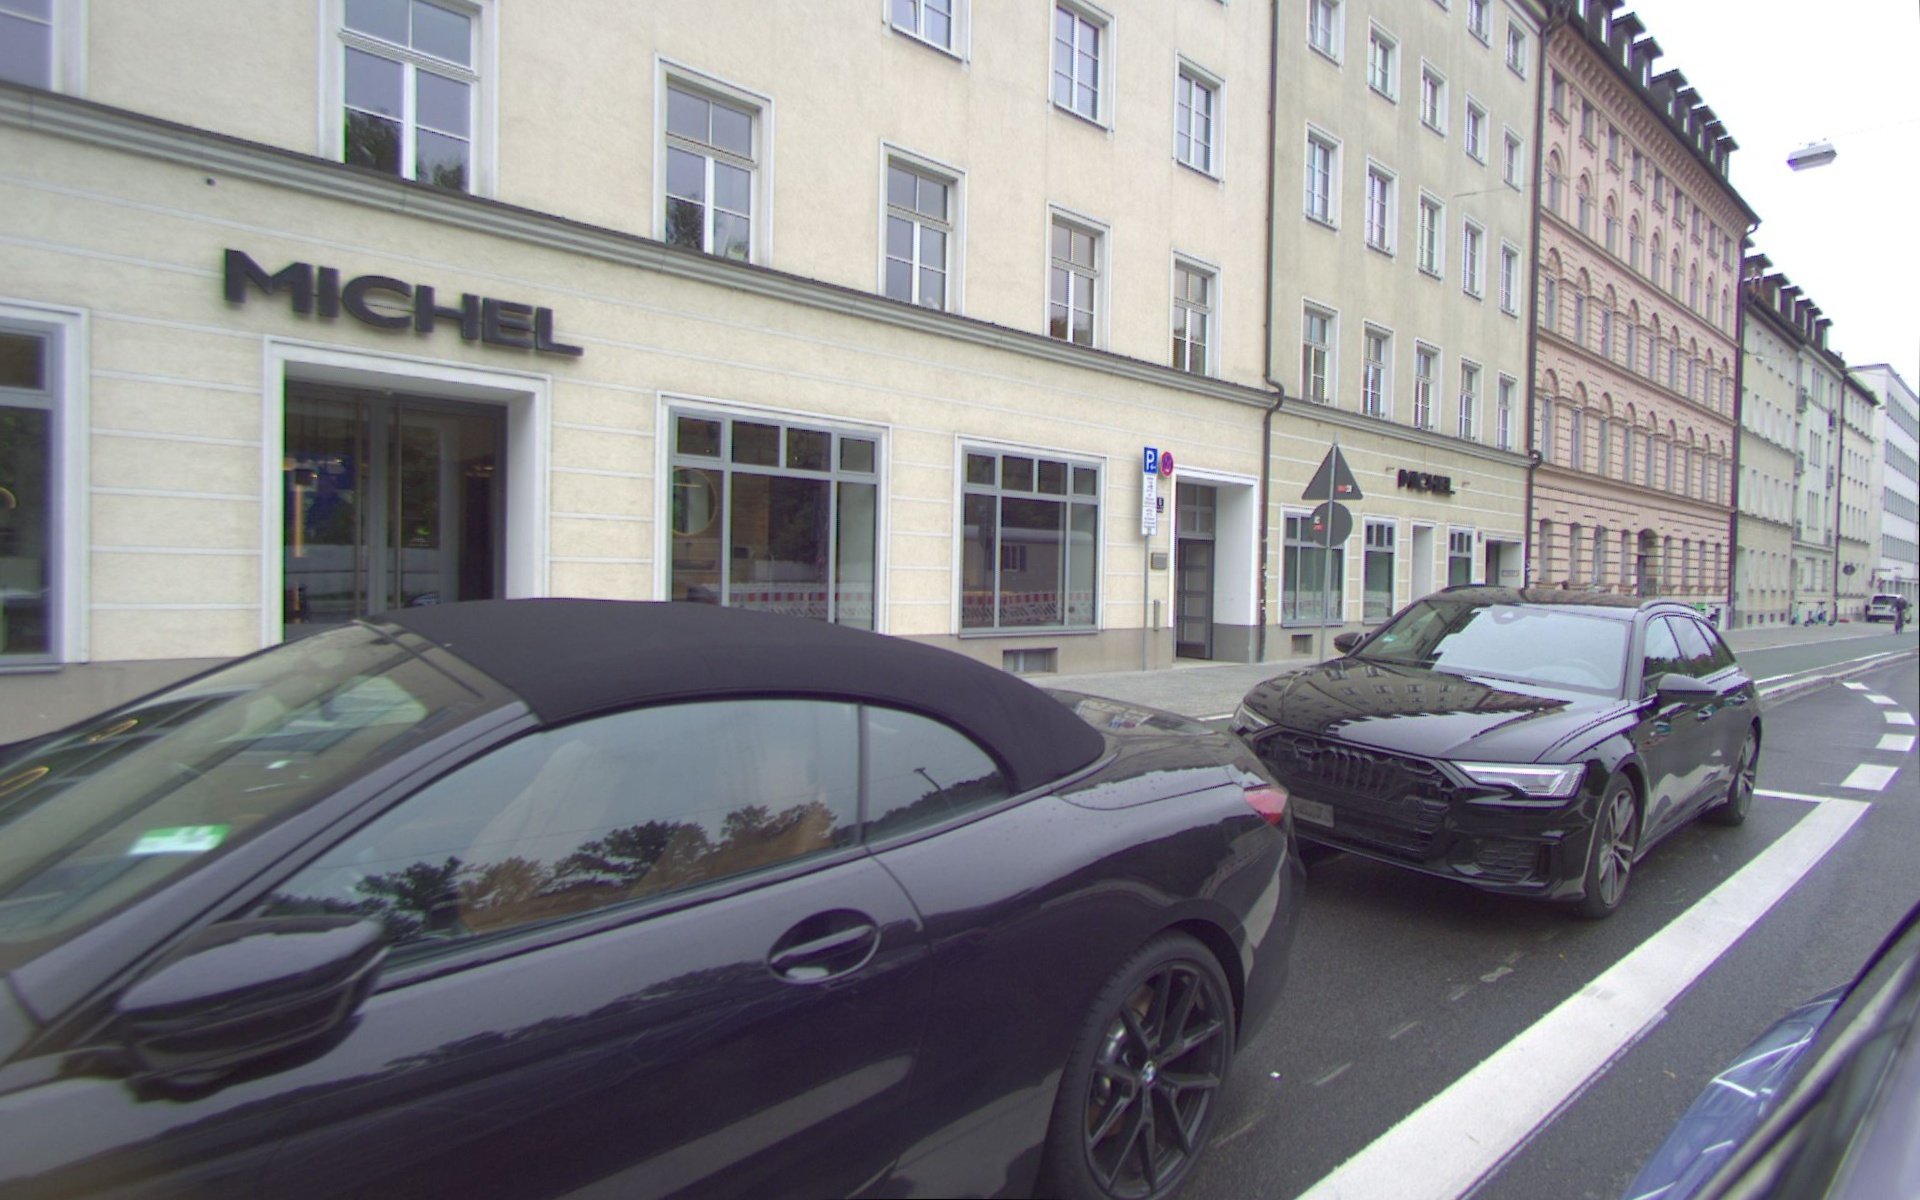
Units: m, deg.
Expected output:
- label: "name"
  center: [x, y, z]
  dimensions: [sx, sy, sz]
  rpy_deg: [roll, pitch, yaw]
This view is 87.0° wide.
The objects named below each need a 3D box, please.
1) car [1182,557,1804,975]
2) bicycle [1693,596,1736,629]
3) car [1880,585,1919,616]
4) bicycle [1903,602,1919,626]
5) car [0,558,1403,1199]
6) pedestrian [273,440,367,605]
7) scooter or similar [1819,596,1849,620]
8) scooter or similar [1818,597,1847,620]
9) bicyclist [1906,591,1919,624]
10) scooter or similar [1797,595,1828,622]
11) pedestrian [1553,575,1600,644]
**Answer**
- label: "car"
  center: [3.415, 0.617, 6.035]
  dimensions: [4.386, 1.498, 1.812]
  rpy_deg: [0, 5, -43]
- label: "bicycle"
  center: [28.156, 0.449, 37.751]
  dimensions: [1.690, 1.191, 0.558]
  rpy_deg: [1, 1, -26]
- label: "car"
  center: [59.173, 0.009, 63.433]
  dimensions: [3.931, 1.855, 1.764]
  rpy_deg: [0, 1, -42]
- label: "bicycle"
  center: [44.611, 0.654, 47.349]
  dimensions: [0.630, 1.050, 1.987]
  rpy_deg: [2, 2, 42]
- label: "car"
  center: [-1.095, 0.661, 2.108]
  dimensions: [4.635, 1.425, 1.830]
  rpy_deg: [0, 0, -40]
- label: "pedestrian"
  center: [-7.028, -0.826, 11.111]
  dimensions: [0.767, 1.710, 0.861]
  rpy_deg: [0, 2, -39]
- label: "scooter or similar"
  center: [45.546, 0.433, 52.730]
  dimensions: [1.064, 1.207, 0.451]
  rpy_deg: [2, 1, 20]
- label: "scooter or similar"
  center: [46.358, 0.438, 53.802]
  dimensions: [1.059, 1.207, 0.436]
  rpy_deg: [1, 1, 10]
- label: "bicyclist"
  center: [44.680, 0.346, 47.309]
  dimensions: [0.630, 1.486, 0.643]
  rpy_deg: [2, 1, 43]
- label: "scooter or similar"
  center: [41.890, 0.409, 49.754]
  dimensions: [1.055, 1.261, 0.554]
  rpy_deg: [1, 1, -6]
- label: "pedestrian"
  center: [16.233, 0.228, 26.643]
  dimensions: [0.818, 1.767, 0.795]
  rpy_deg: [0, 1, -40]
